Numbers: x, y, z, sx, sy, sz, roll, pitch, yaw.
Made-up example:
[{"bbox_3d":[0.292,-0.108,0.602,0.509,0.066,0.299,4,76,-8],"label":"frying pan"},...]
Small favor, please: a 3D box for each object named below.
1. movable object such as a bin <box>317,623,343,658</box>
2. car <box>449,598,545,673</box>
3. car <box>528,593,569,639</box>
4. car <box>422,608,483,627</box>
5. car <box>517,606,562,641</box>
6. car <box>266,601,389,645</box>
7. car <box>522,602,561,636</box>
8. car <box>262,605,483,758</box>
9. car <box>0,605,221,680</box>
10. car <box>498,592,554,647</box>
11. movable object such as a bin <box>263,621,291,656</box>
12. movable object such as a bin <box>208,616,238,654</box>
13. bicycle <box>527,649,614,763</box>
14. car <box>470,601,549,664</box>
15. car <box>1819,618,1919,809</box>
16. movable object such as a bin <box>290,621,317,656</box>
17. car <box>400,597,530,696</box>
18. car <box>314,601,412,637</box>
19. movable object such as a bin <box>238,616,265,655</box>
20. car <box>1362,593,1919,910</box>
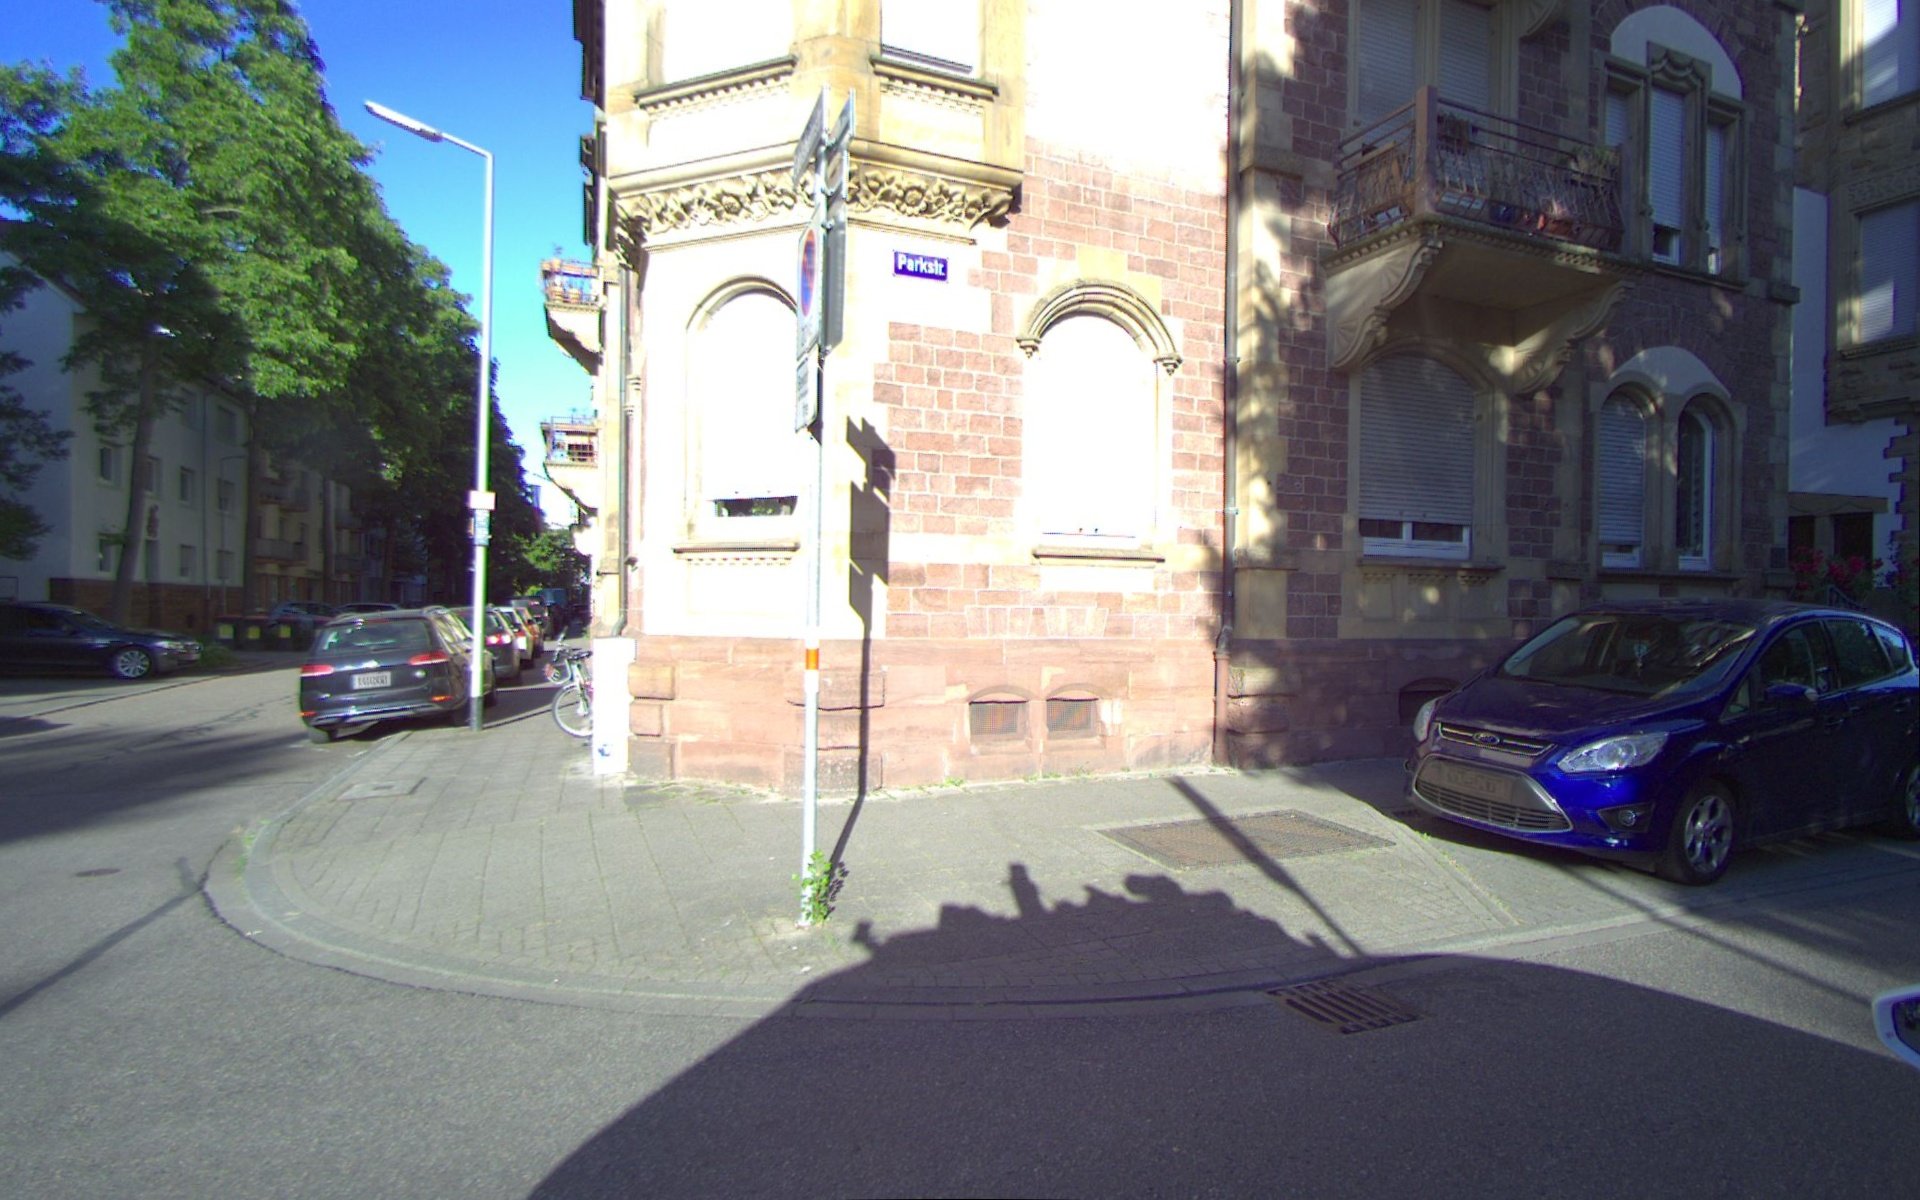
[{"bbox_3d":[-19.873,1.273,31.684,0.623,1.067,0.564,2,-1,-27],"label":"movable object such as a bin"},{"bbox_3d":[-10.721,0.807,23.505,1.717,1.602,3.981,1,-1,-21],"label":"car"},{"bbox_3d":[-25.834,1.030,63.206,2.141,2.726,4.768,1,-1,-21],"label":"car"},{"bbox_3d":[-36.569,1.250,72.475,3.760,1.256,1.701,2,-1,-23],"label":"car"},{"bbox_3d":[-19.805,1.104,47.384,1.782,1.534,3.981,2,-1,-21],"label":"car"},{"bbox_3d":[-24.246,0.881,38.671,3.762,1.596,1.700,2,-1,-25],"label":"car"},{"bbox_3d":[-22.341,1.006,53.720,1.782,1.701,3.981,1,-1,-21],"label":"car"},{"bbox_3d":[-7.204,0.914,12.723,1.717,1.602,3.981,1,-1,-21],"label":"car"},{"bbox_3d":[-18.197,0.852,20.411,4.781,1.454,1.701,2,-1,-23],"label":"car"},{"bbox_3d":[-17.015,0.764,39.532,1.782,2.030,3.981,1,-1,-21],"label":"car"},{"bbox_3d":[-21.124,1.182,31.062,0.623,1.067,0.564,2,-1,-27],"label":"movable object such as a bin"},{"bbox_3d":[-22.361,1.060,30.467,0.627,1.141,0.483,2,-1,-27],"label":"movable object such as a bin"},{"bbox_3d":[-3.967,1.024,10.162,0.510,1.011,1.562,2,-1,-32],"label":"bicycle"},{"bbox_3d":[-12.412,0.882,27.861,1.717,1.602,3.981,1,-1,-21],"label":"car"},{"bbox_3d":[9.816,0.937,8.904,4.395,1.519,1.724,0,0,-26],"label":"car"},{"bbox_3d":[-20.512,1.205,31.405,0.623,1.067,0.564,2,-1,-27],"label":"movable object such as a bin"},{"bbox_3d":[-8.969,0.805,18.475,1.717,1.602,3.981,1,-1,-21],"label":"car"},{"bbox_3d":[-28.197,0.930,47.565,3.760,1.596,1.701,2,-1,-23],"label":"car"},{"bbox_3d":[-21.730,1.093,30.820,0.592,1.168,0.483,2,-1,-27],"label":"movable object such as a bin"},{"bbox_3d":[4.980,0.838,6.900,4.202,1.643,1.724,2,0,-26],"label":"car"}]
